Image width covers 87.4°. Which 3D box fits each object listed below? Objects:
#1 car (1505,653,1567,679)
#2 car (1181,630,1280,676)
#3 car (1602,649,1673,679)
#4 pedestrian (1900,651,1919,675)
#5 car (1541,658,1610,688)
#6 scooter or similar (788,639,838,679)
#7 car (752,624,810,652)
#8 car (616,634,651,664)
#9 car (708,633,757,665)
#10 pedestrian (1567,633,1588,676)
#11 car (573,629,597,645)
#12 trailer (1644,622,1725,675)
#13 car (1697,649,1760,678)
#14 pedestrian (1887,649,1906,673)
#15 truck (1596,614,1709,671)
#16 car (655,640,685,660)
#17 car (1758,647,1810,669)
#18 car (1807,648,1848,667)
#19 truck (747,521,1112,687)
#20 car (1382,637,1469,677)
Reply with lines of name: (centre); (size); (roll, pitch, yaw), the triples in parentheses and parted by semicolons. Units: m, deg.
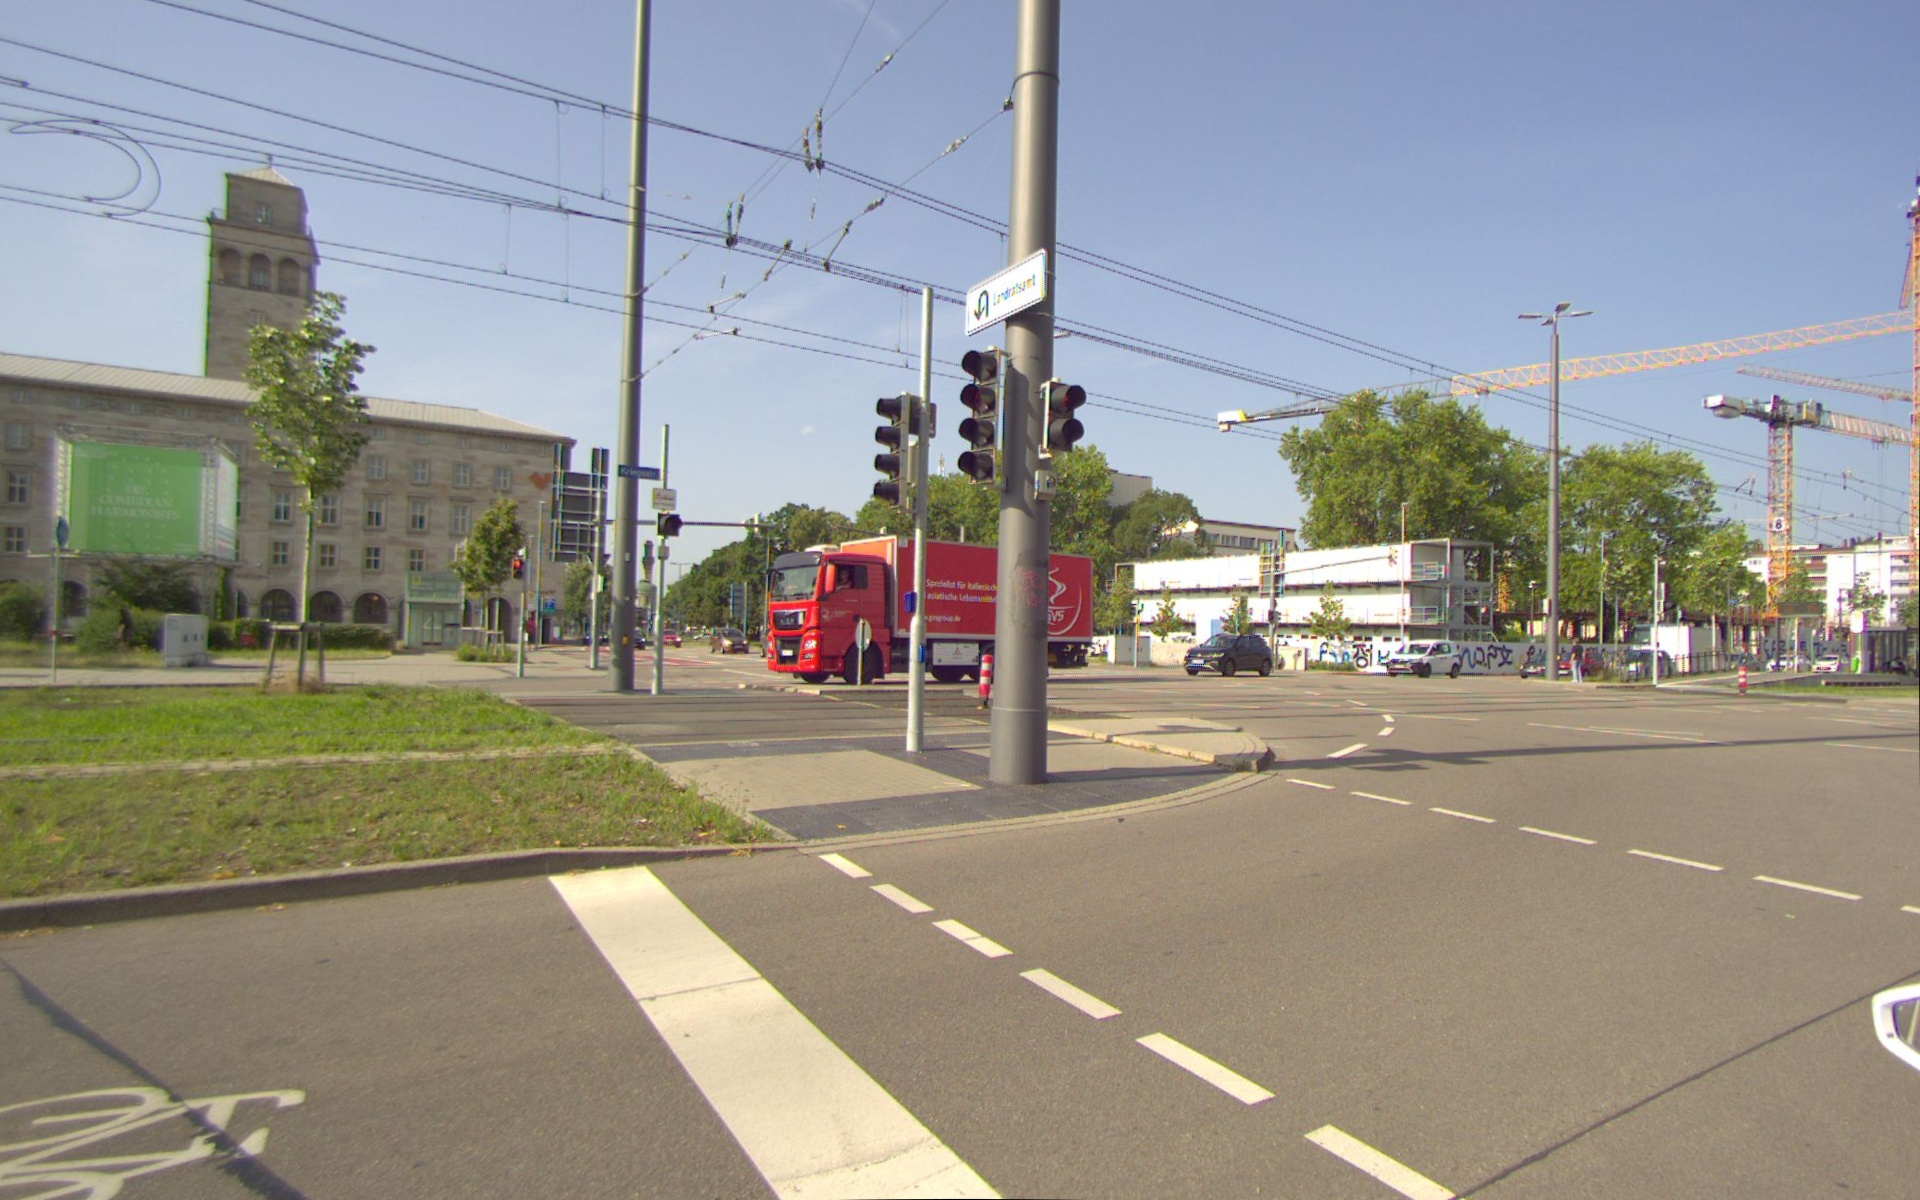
car: (32.839, 3.726, 57.222); (4.387, 1.365, 1.583); (3, -2, -39)
car: (10.106, 1.952, 37.386); (3.969, 1.622, 1.625); (3, -2, -41)
car: (36.119, 3.394, 53.543); (4.358, 1.489, 1.633); (2, -2, -34)
pedestrian: (54.870, 3.643, 58.052); (0.587, 1.317, 0.676); (2, -2, -36)
car: (30.801, 3.626, 50.252); (3.664, 1.379, 1.708); (3, -2, -37)
scooter or similar: (-4.359, 1.750, 29.877); (1.371, 1.161, 0.535); (3, -2, -38)
car: (-9.319, 1.961, 52.160); (1.692, 1.398, 3.621); (2, -2, -33)
car: (-23.572, 3.493, 72.388); (1.972, 2.040, 3.978); (2, -2, -23)
car: (-14.170, 3.033, 62.405); (1.975, 1.855, 3.971); (2, -2, -28)
pedestrian: (24.333, 2.148, 39.575); (0.629, 1.698, 0.370); (2, -1, -16)
car: (-42.761, 4.204, 114.456); (1.890, 1.739, 4.074); (2, -2, -30)
trailer: (41.110, 2.763, 56.999); (4.969, 2.817, 2.032); (3, 0, -33)
car: (46.447, 3.840, 60.684); (4.105, 1.684, 1.711); (3, -2, -33)
pedestrian: (52.509, 3.416, 56.298); (0.587, 1.317, 0.676); (2, -2, -36)
truck: (46.171, 2.851, 66.891); (8.792, 3.634, 3.005); (2, -2, -32)
car: (-24.272, 4.131, 83.971); (1.809, 1.526, 3.993); (2, -2, -25)
car: (63.248, 4.458, 77.061); (4.567, 1.602, 1.782); (3, -2, -33)
car: (70.692, 4.710, 81.855); (3.396, 1.482, 1.587); (3, -2, -32)
truck: (-0.471, 0.298, 27.801); (10.331, 3.859, 2.949); (3, -2, -38)
car: (22.174, 2.719, 47.789); (4.470, 1.812, 1.607); (2, -2, -33)
